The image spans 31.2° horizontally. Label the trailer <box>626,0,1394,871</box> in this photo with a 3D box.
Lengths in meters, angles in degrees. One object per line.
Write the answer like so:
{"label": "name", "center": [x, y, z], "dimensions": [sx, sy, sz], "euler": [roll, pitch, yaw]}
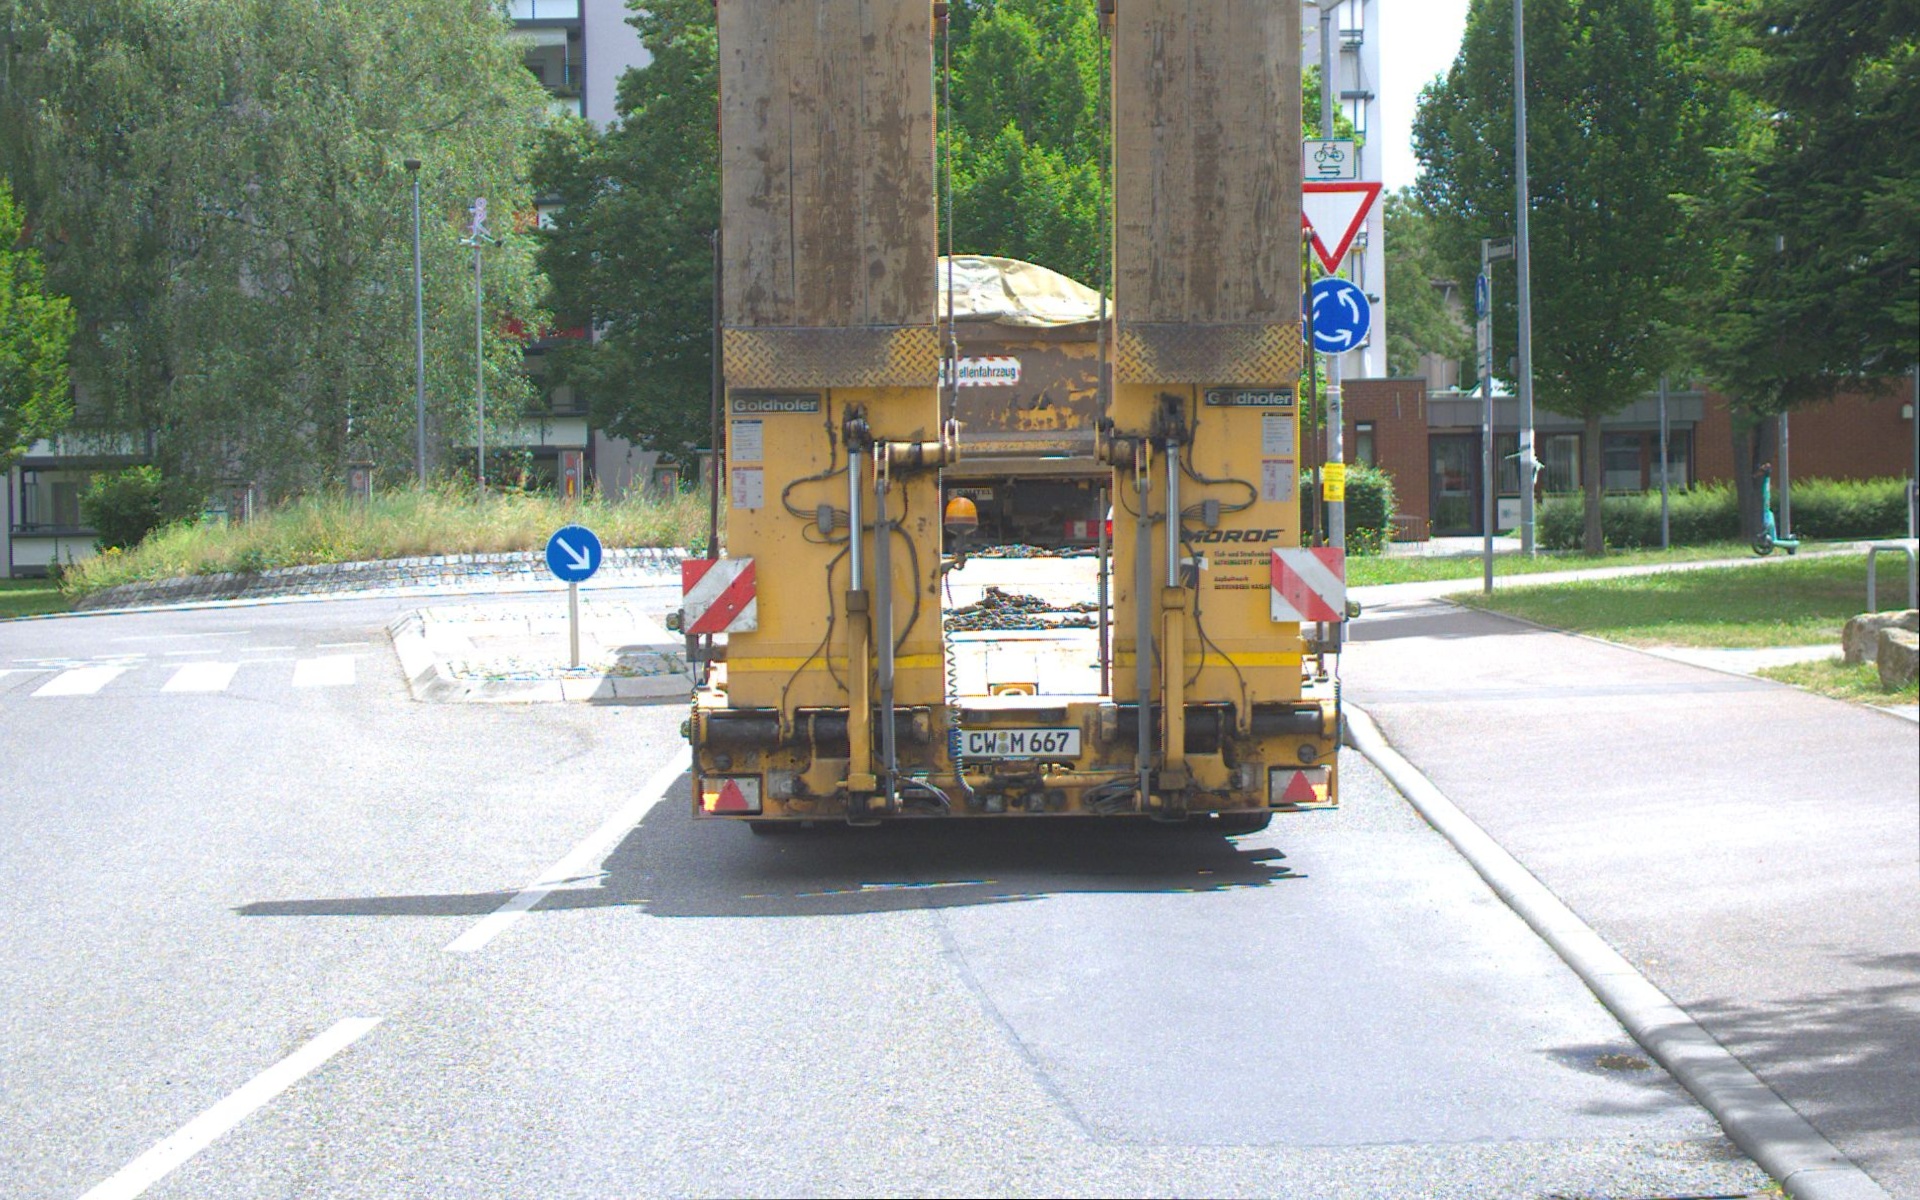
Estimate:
{"label": "trailer", "center": [0.179, -0.891, 18.344], "dimensions": [2.863, 3.360, 10.842], "euler": [0, 2, 0]}

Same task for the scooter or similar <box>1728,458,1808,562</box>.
{"label": "scooter or similar", "center": [10.877, -1.221, 46.268], "dimensions": [0.485, 1.338, 1.385], "euler": [-1, 2, 37]}

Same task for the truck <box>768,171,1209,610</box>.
{"label": "truck", "center": [-0.038, -1.662, 28.024], "dimensions": [2.987, 3.024, 8.488], "euler": [0, 3, -4]}
